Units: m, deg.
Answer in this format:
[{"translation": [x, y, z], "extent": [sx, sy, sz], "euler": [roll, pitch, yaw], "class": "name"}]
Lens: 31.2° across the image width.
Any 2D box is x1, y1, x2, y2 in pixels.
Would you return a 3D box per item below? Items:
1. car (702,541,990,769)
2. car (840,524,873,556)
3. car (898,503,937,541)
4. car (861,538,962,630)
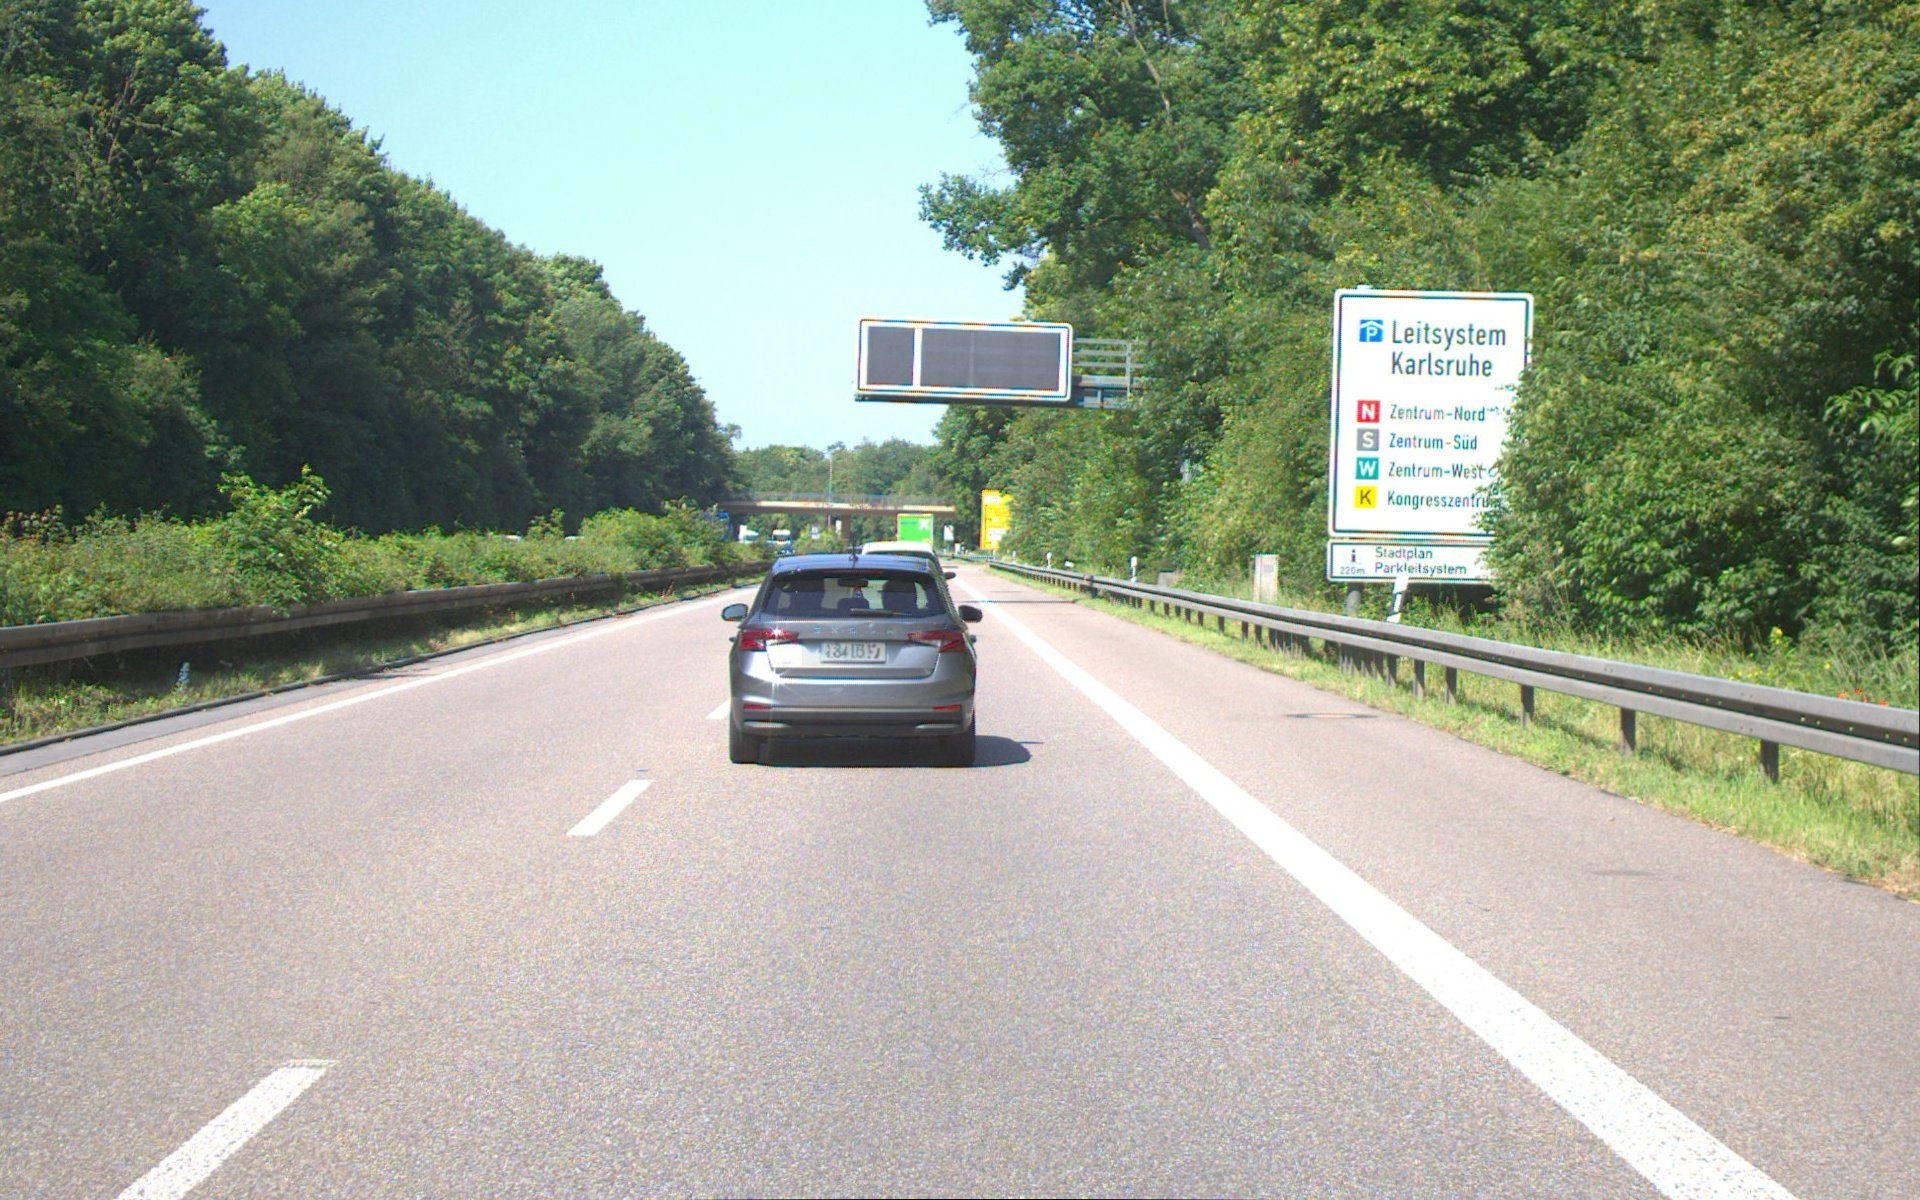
[{"translation": [-0.737, 0.333, 24.516], "extent": [1.840, 1.467, 3.623], "euler": [1, 1, 1], "class": "car"}, {"translation": [-6.637, -3.863, 221.017], "extent": [1.993, 2.007, 4.000], "euler": [1, 1, 0], "class": "car"}, {"translation": [-3.033, -5.613, 247.949], "extent": [2.748, 2.645, 4.000], "euler": [1, 1, 0], "class": "car"}, {"translation": [-0.770, -0.280, 56.529], "extent": [1.522, 1.442, 3.340], "euler": [1, 1, 1], "class": "car"}]
